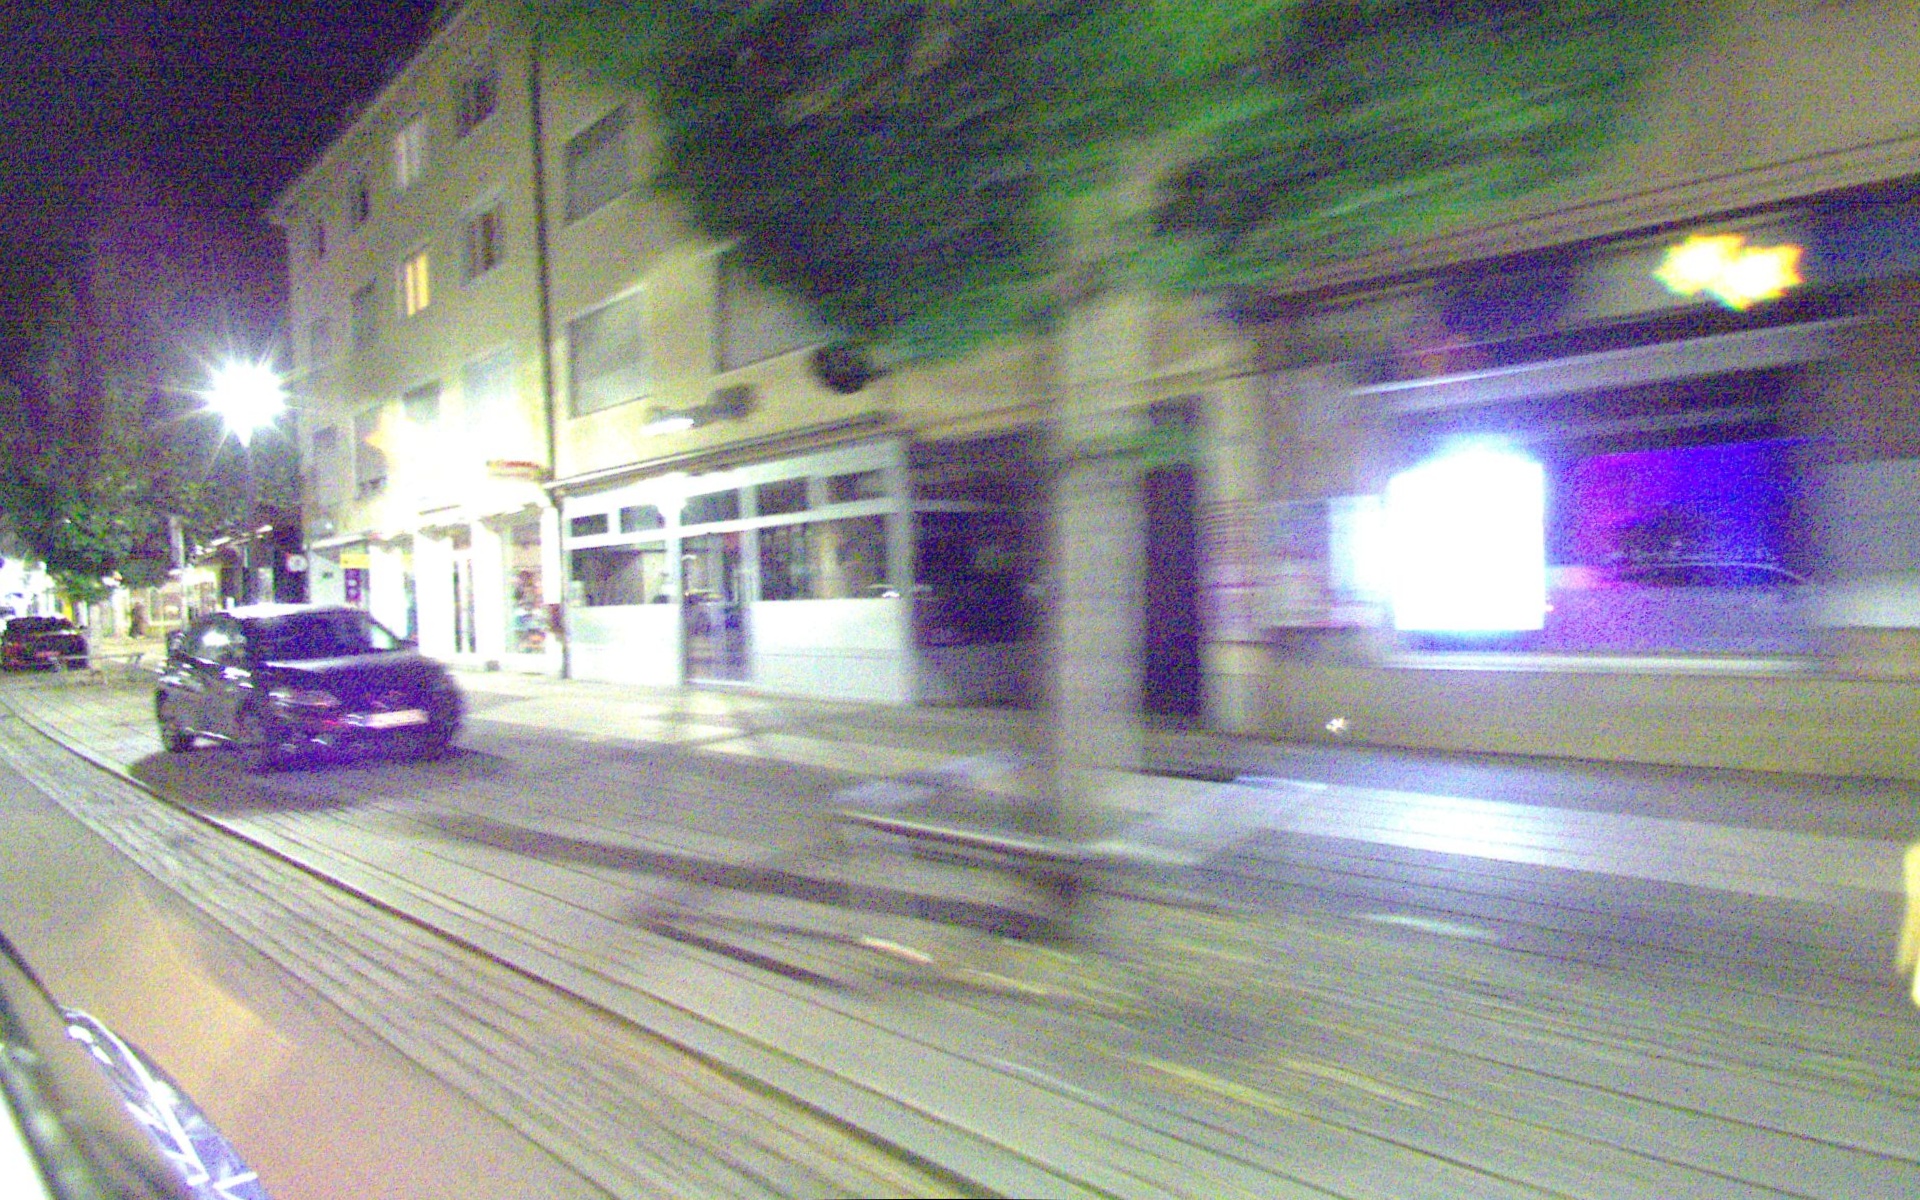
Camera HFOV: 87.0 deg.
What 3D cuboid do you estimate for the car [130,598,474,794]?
[{"bbox_3d":[-6.823,0.826,10.320,4.225,1.555,1.657,-1,1,39],"label":"car"}]

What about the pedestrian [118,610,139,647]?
[{"bbox_3d":[-40.205,1.370,48.931,1.023,1.758,0.614,-1,1,45],"label":"pedestrian"}]

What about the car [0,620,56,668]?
[{"bbox_3d":[-32.289,1.485,34.596,3.847,1.488,1.709,-1,2,44],"label":"car"}]

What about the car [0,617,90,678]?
[{"bbox_3d":[-27.116,1.330,29.588,5.009,1.499,1.998,-1,3,44],"label":"car"}]
